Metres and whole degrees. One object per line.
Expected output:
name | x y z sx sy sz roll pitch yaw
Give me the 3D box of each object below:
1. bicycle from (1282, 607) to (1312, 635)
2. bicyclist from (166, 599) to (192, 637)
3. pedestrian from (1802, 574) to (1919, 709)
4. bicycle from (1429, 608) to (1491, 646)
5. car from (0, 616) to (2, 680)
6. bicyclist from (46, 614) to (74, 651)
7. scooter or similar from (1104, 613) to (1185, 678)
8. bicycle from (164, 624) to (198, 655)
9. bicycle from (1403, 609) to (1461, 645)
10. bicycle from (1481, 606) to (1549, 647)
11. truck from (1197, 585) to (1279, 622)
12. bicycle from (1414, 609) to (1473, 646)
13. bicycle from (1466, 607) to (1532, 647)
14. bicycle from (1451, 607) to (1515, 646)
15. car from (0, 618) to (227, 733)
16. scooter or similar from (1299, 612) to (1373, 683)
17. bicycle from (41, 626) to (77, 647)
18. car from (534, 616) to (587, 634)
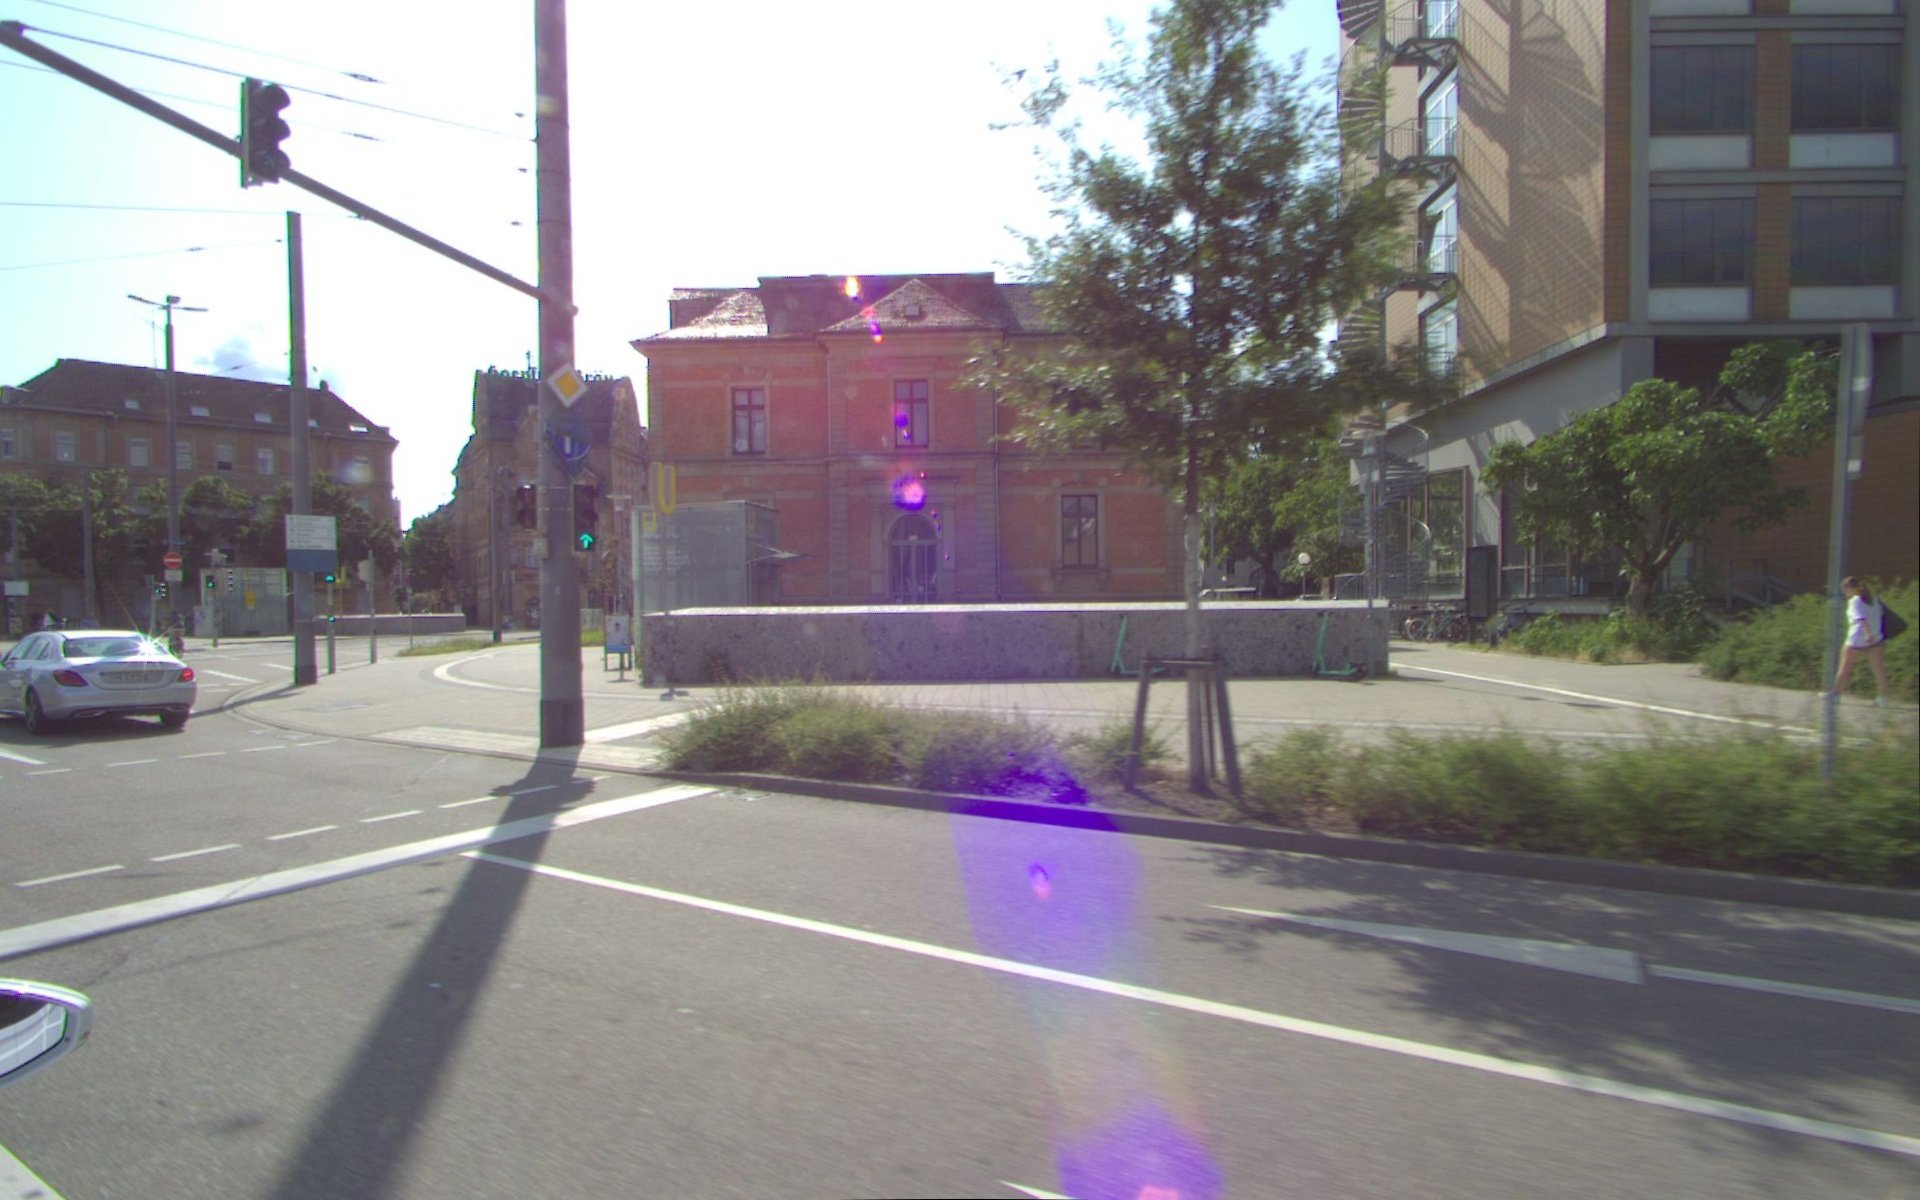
bicycle | 12.750 0.802 37.934 0.536 1.002 1.507 -3 0 -1
bicyclist | -26.477 0.595 33.959 0.629 1.237 0.916 -3 3 -37
pedestrian | 11.666 0.501 12.958 0.604 1.645 1.096 -2 2 -2
bicycle | 14.517 0.776 29.101 1.478 1.002 0.547 -3 1 -2
car | -23.037 1.076 22.360 4.078 1.390 1.693 -1 0 36
bicyclist | -36.078 1.284 40.153 0.762 1.470 0.607 0 1 29
scooter or similar | 3.311 0.814 18.030 1.419 1.133 0.466 0 2 7
bicycle | -26.475 1.329 34.040 0.839 0.983 1.946 -1 1 -37
bicycle | 14.412 0.822 30.601 1.478 1.002 0.547 -3 1 -2
bicycle | 14.781 0.695 26.675 1.478 1.002 0.547 -3 1 -2
truck | 16.123 0.240 58.193 4.303 2.039 2.001 0 -2 6
bicycle | 14.397 0.804 29.826 1.478 1.002 0.547 -3 1 -2
bicycle | 14.783 0.725 27.465 1.478 1.002 0.547 -3 1 -2
bicycle | 14.777 0.744 28.288 1.478 1.002 0.547 -3 1 -2
car | -13.568 1.068 15.598 4.691 1.474 1.927 0 -1 33
scooter or similar | 6.328 0.777 16.914 0.458 1.119 1.315 -1 1 -18
bicycle | -36.154 1.463 40.173 1.596 0.786 0.584 -1 0 29
car | -33.203 2.050 83.341 2.007 1.449 4.537 0 0 9
